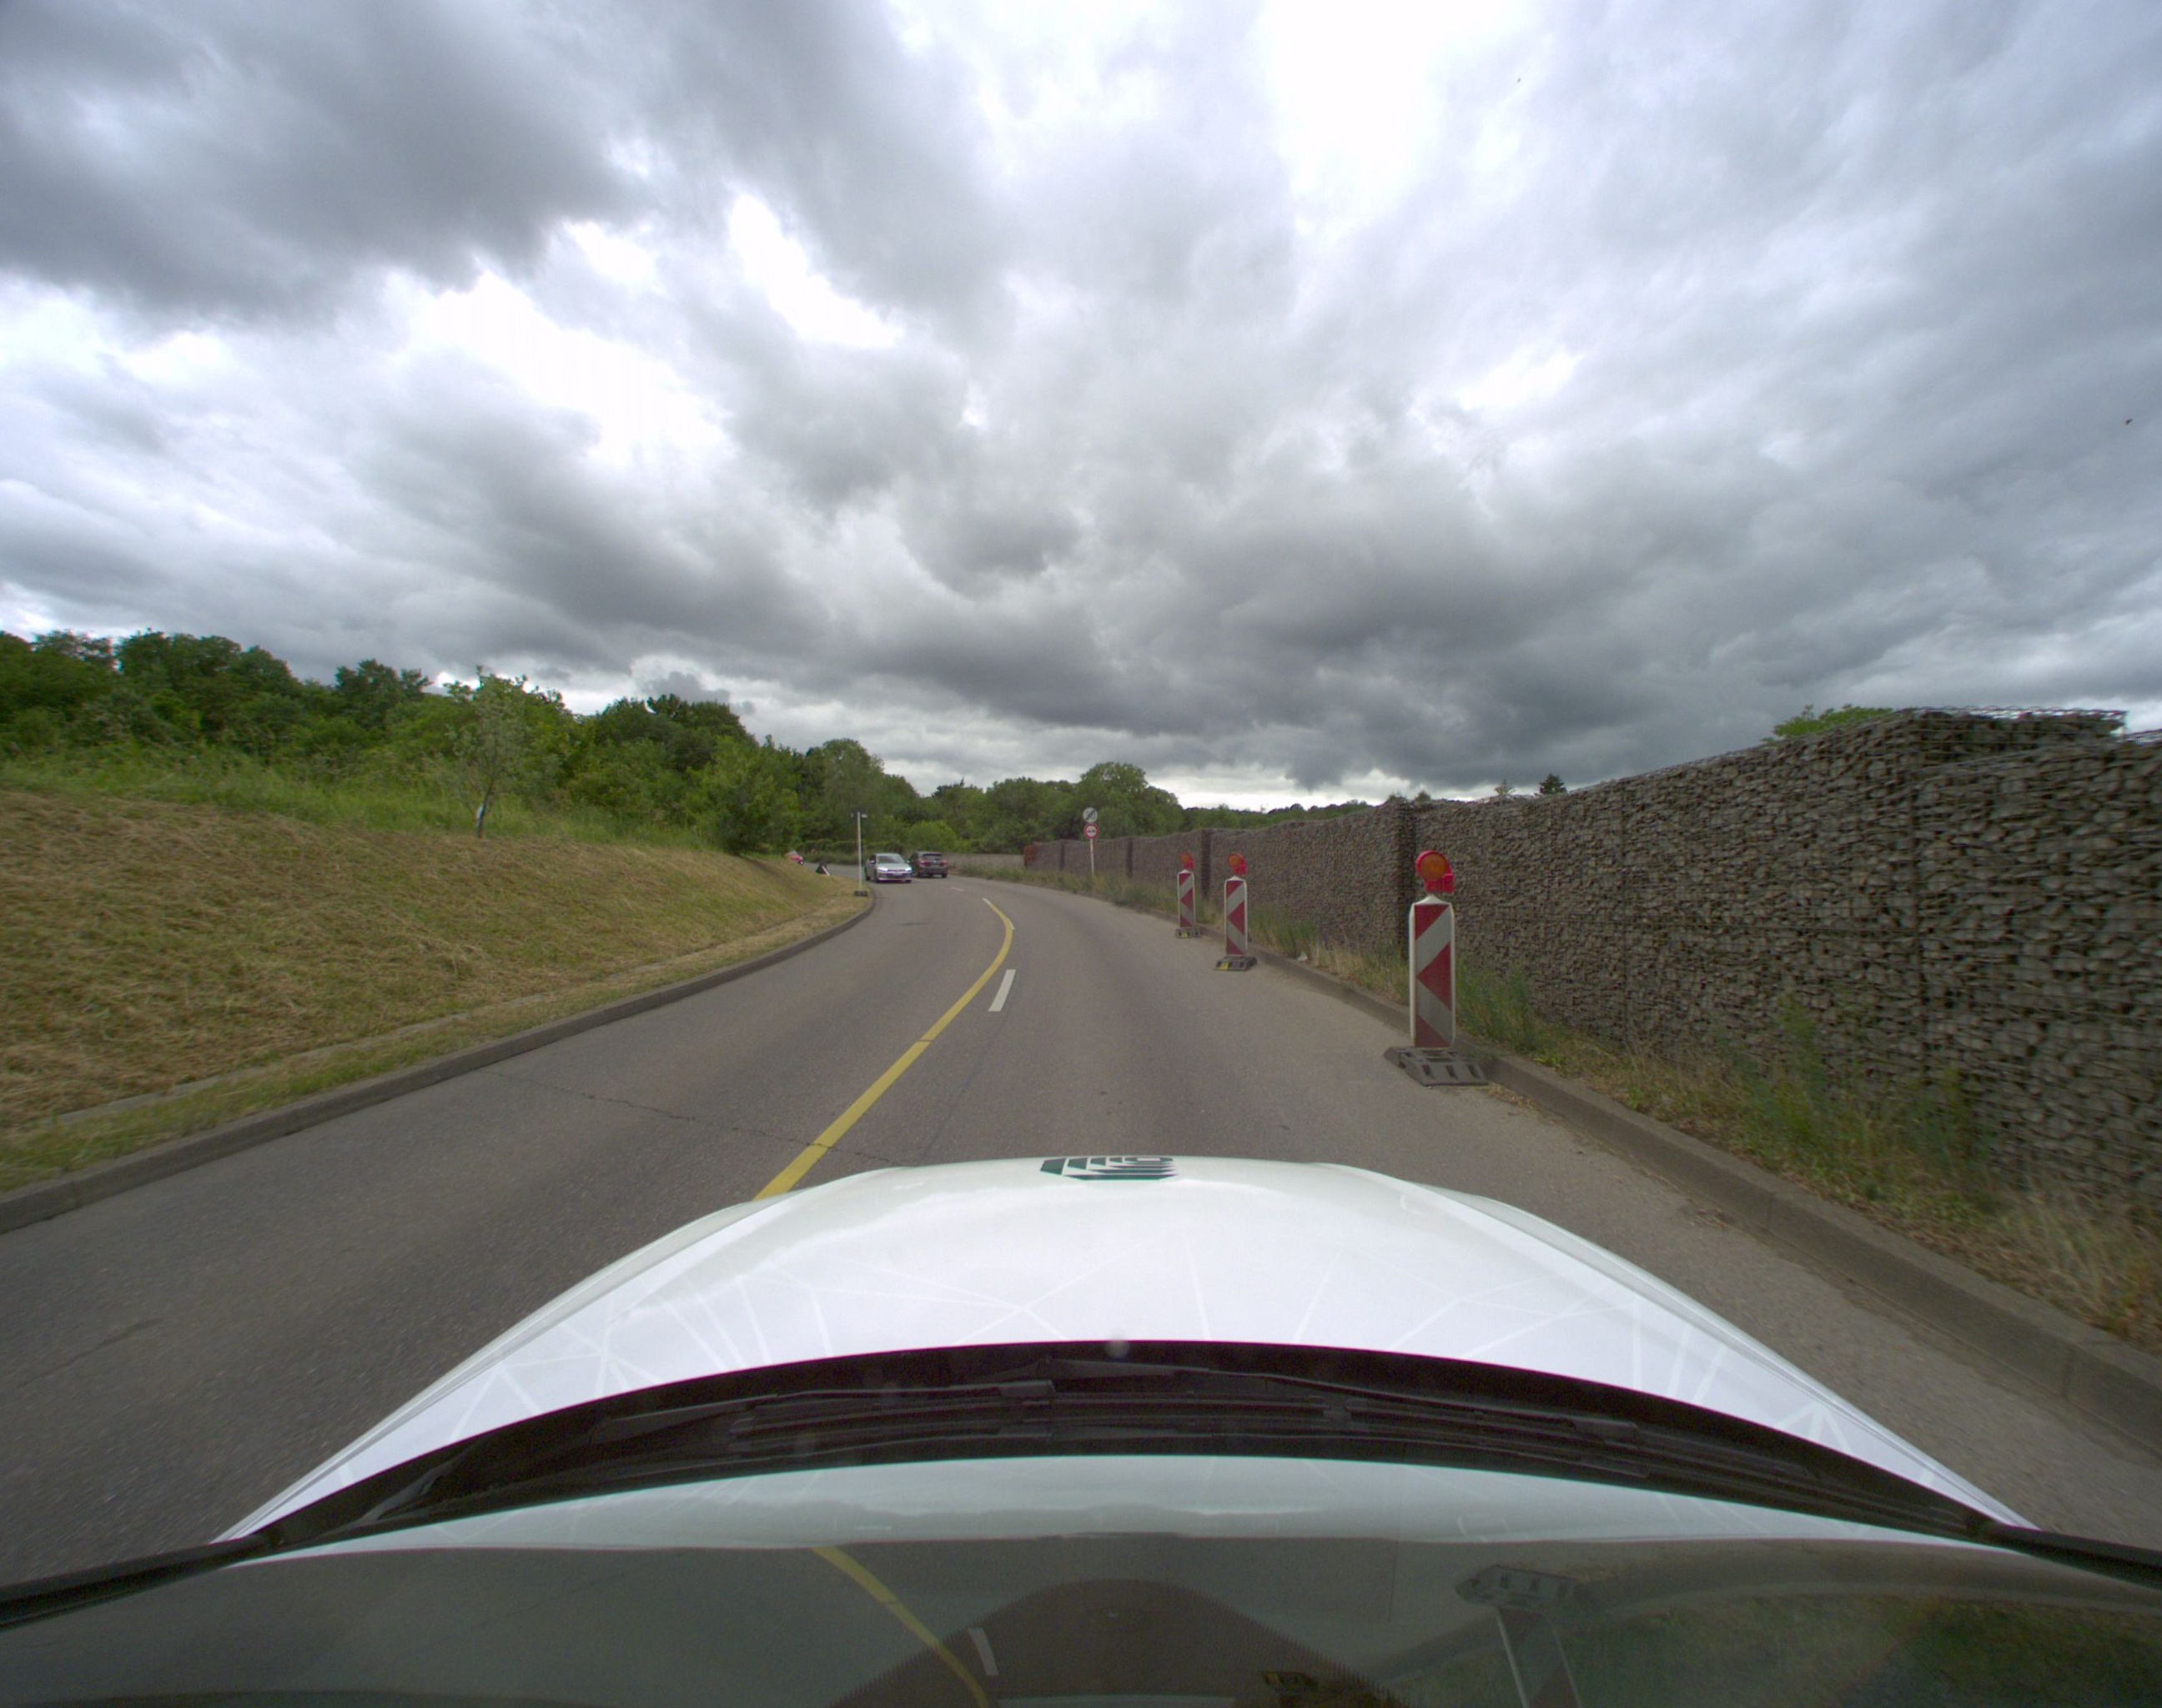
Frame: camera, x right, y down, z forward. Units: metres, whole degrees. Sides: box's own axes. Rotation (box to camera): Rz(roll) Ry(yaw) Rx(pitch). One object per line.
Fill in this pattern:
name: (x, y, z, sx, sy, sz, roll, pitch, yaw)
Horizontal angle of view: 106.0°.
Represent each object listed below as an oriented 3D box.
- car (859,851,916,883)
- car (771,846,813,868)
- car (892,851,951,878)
car: (-10.233, 0.639, 42.801, 1.892, 1.477, 4.562, -2, 1, -26)
car: (-21.779, 0.254, 61.363, 1.755, 1.417, 3.709, 6, -7, -39)
car: (-9.392, 0.573, 47.720, 1.854, 1.483, 3.956, -1, 1, -36)
